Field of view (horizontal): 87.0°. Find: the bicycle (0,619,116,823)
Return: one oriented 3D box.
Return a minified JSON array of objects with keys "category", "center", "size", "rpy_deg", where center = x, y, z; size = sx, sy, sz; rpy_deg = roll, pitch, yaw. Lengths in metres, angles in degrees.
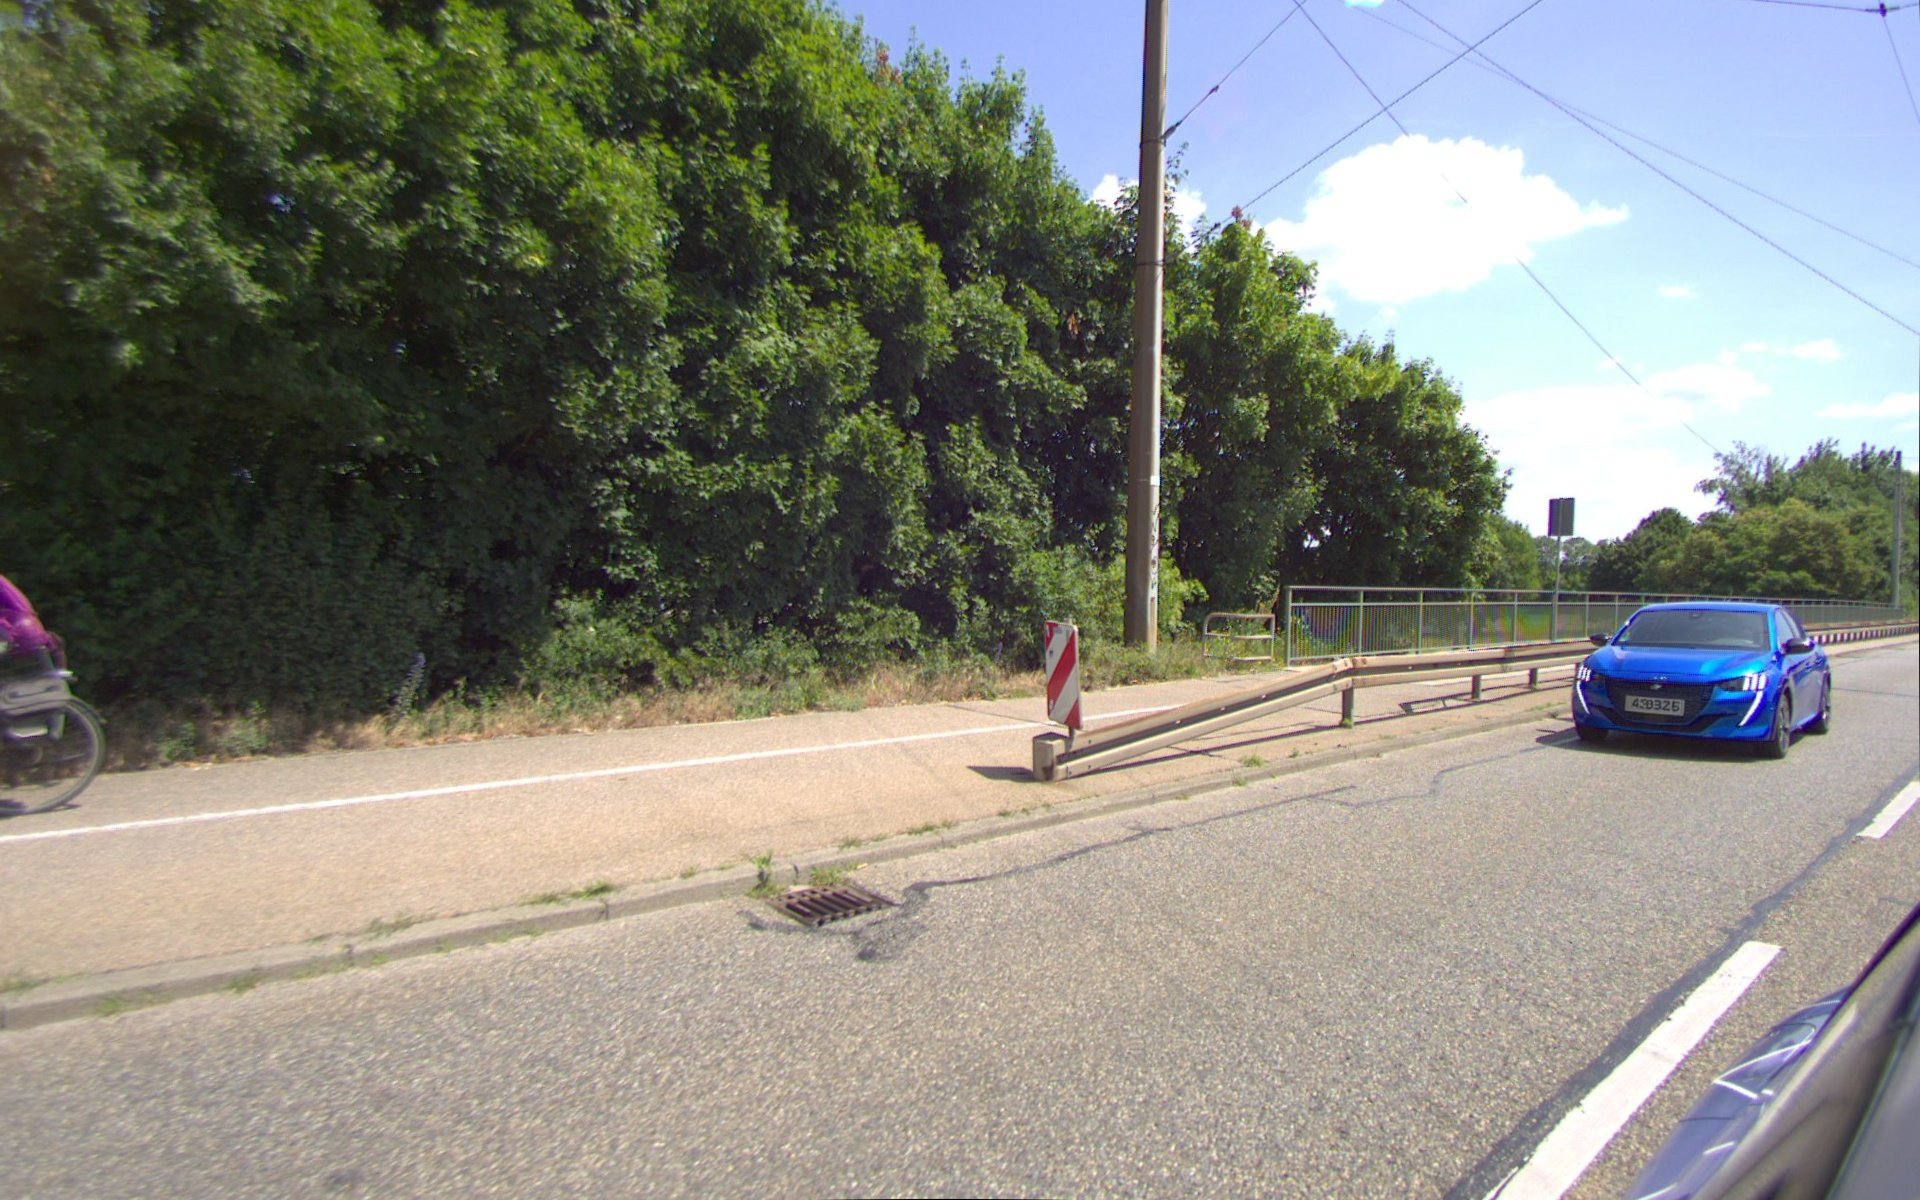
[{"category":"bicycle","center":[-5.560,0.646,5.248],"size":[1.815,1.037,0.561],"rpy_deg":[0,2,-41]}]

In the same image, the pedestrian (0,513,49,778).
[{"category":"pedestrian","center":[-5.482,0.227,5.299],"size":[1.032,1.391,0.629],"rpy_deg":[0,2,-41]}]

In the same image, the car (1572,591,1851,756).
[{"category":"car","center":[8.028,0.637,10.697],"size":[3.679,1.423,1.658],"rpy_deg":[0,1,-42]}]
